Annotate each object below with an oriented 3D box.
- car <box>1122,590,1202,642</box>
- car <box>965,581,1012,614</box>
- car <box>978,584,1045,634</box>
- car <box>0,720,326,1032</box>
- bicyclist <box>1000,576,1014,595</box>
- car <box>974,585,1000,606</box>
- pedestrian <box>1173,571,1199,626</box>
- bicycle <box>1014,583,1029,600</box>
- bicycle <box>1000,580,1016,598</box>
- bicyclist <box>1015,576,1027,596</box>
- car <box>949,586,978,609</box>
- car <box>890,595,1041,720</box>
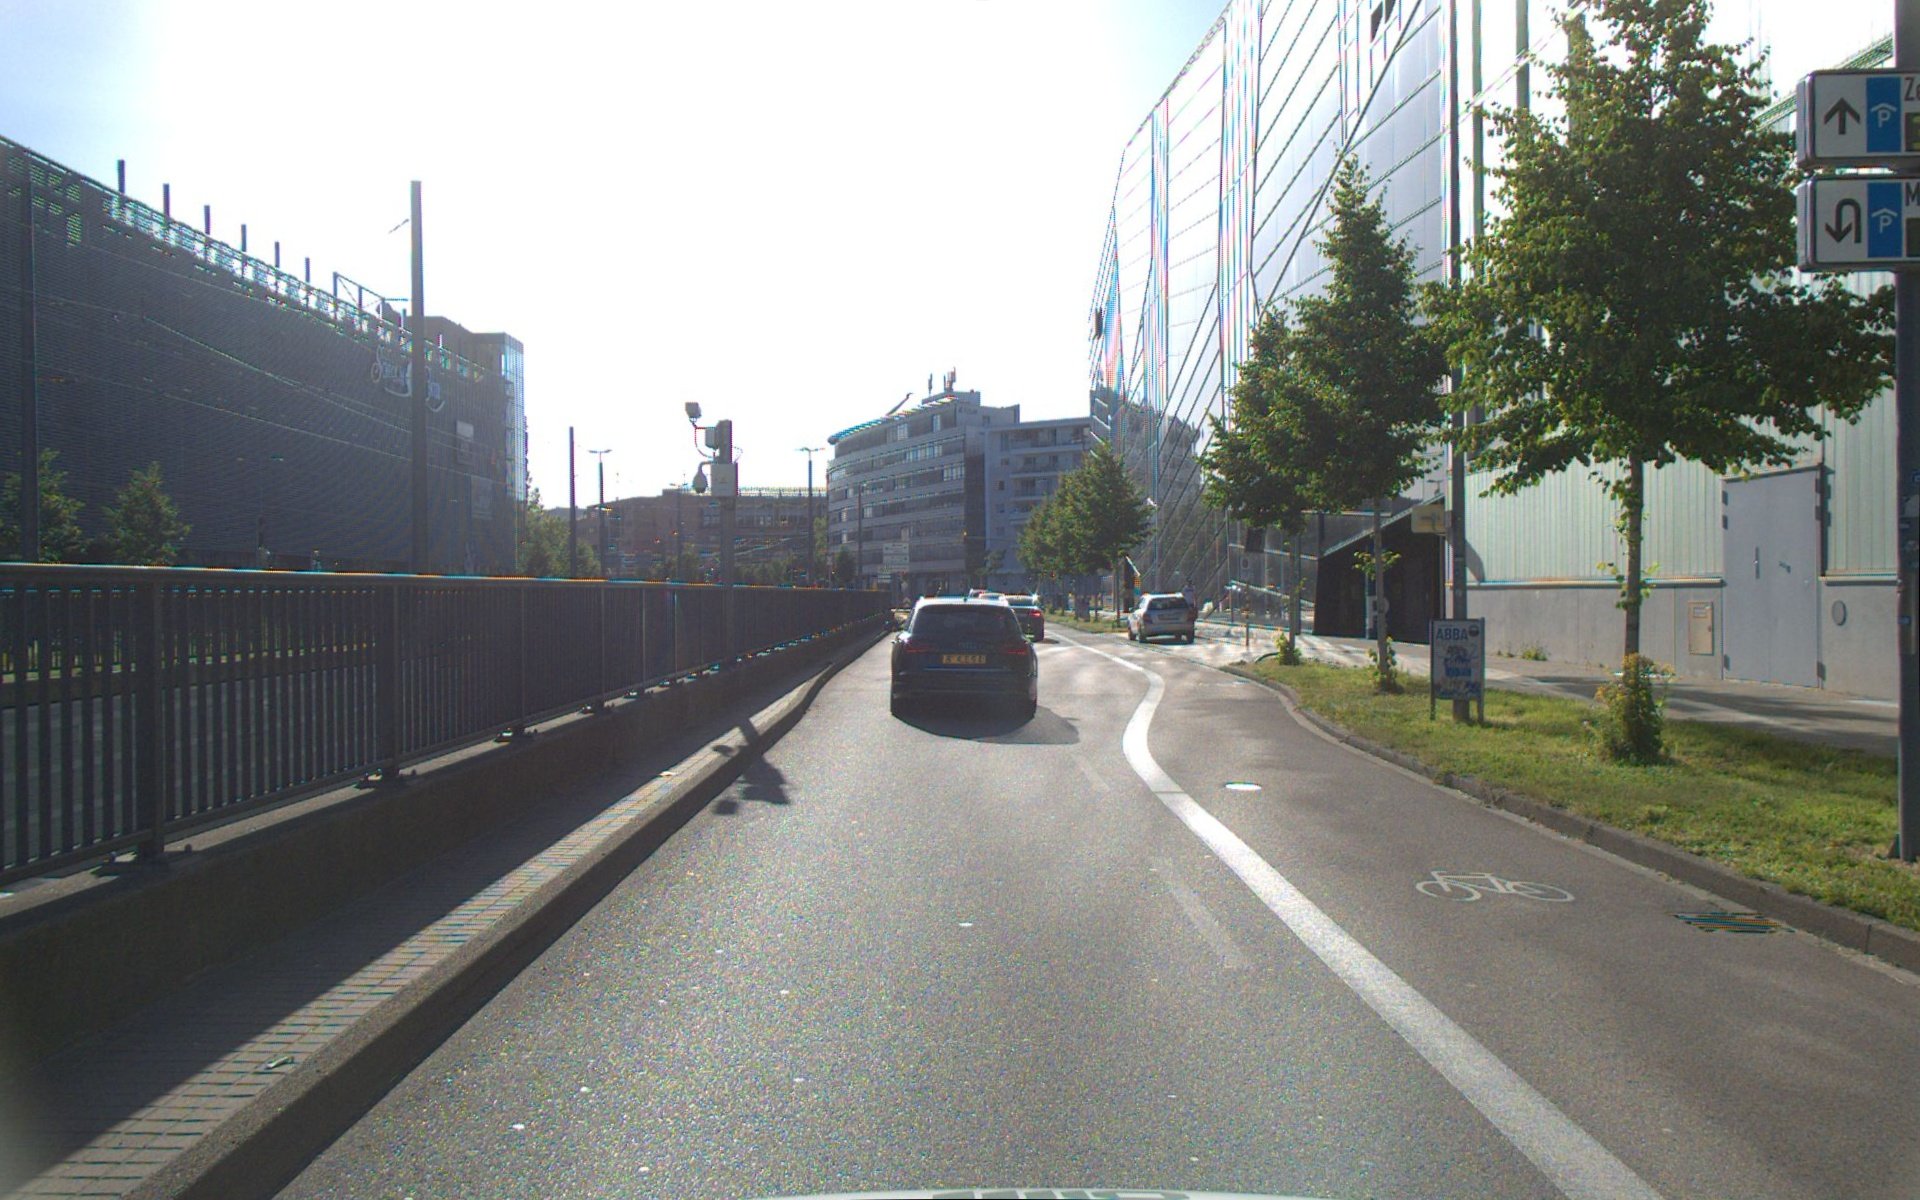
[{"bbox_3d":[6.375,0.471,52.751,1.815,1.506,4.853,-2,1,-1],"label":"car"},{"bbox_3d":[1.341,-0.122,79.101,1.954,1.491,3.998,0,1,-3],"label":"car"},{"bbox_3d":[1.660,0.273,54.538,1.816,1.573,3.997,1,1,-4],"label":"car"},{"bbox_3d":[-6.874,1.935,12.940,1.761,1.553,4.912,1,0,2],"label":"car"},{"bbox_3d":[3.287,-0.985,115.786,0.711,1.291,1.034,-2,0,-9],"label":"bicyclist"},{"bbox_3d":[2.031,-0.338,125.173,1.952,1.491,4.001,0,1,1],"label":"car"},{"bbox_3d":[8.502,-0.059,62.313,0.819,2.049,0.689,-2,0,0],"label":"pedestrian"},{"bbox_3d":[4.409,-0.597,119.067,0.710,1.204,2.090,-2,0,-7],"label":"bicycle"},{"bbox_3d":[3.356,-0.753,115.796,0.711,1.204,2.089,-2,0,-9],"label":"bicycle"},{"bbox_3d":[4.410,-0.994,119.088,0.710,1.443,0.890,-2,0,-7],"label":"bicyclist"},{"bbox_3d":[0.253,-0.175,112.433,1.952,1.491,4.001,0,1,1],"label":"car"},{"bbox_3d":[0.020,0.677,21.886,1.775,1.452,4.688,-1,0,-1],"label":"car"}]
